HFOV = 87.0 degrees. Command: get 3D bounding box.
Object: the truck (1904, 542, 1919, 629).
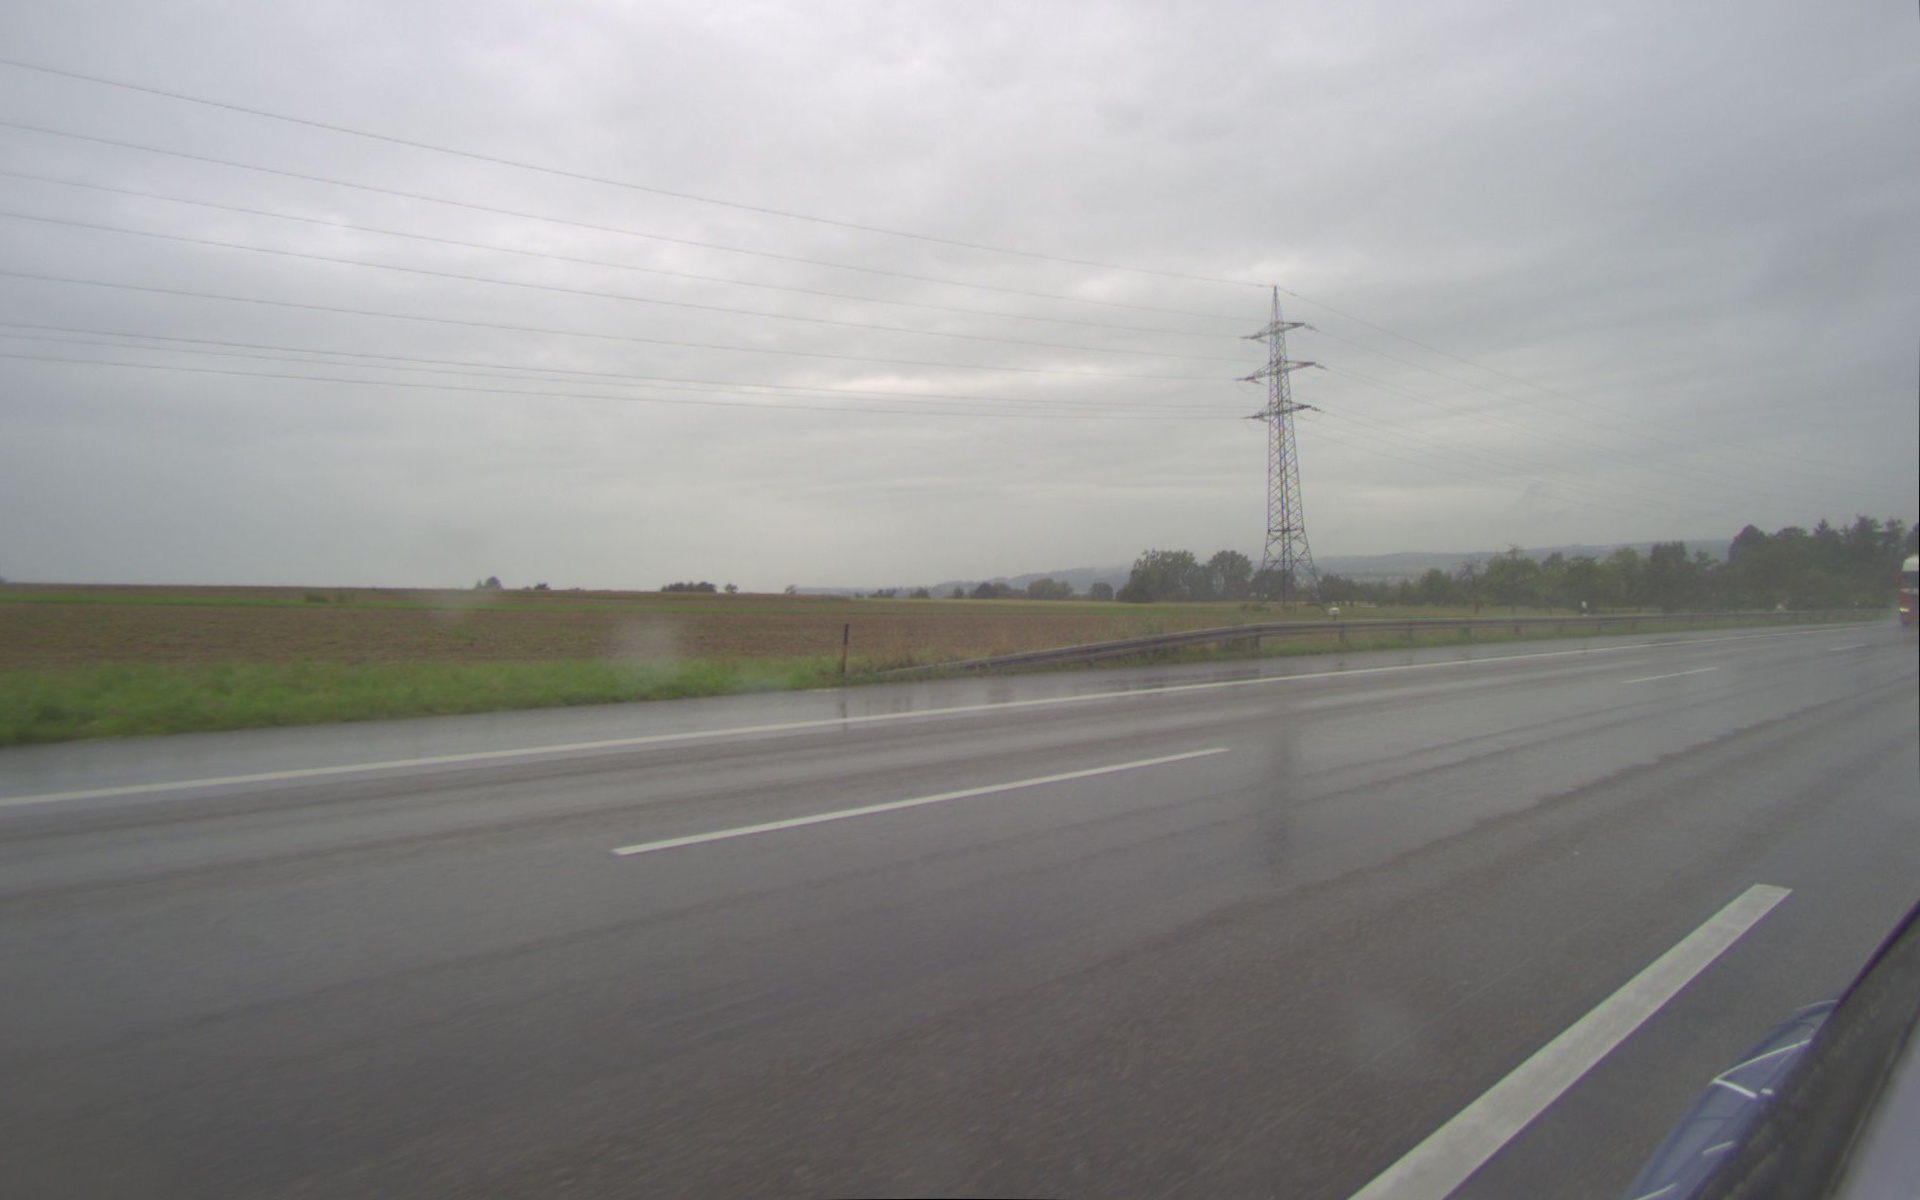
[{"bbox_3d":[57.106,-0.830,58.147,11.206,4.727,3.133,-1,1,-41],"label":"truck"}]
